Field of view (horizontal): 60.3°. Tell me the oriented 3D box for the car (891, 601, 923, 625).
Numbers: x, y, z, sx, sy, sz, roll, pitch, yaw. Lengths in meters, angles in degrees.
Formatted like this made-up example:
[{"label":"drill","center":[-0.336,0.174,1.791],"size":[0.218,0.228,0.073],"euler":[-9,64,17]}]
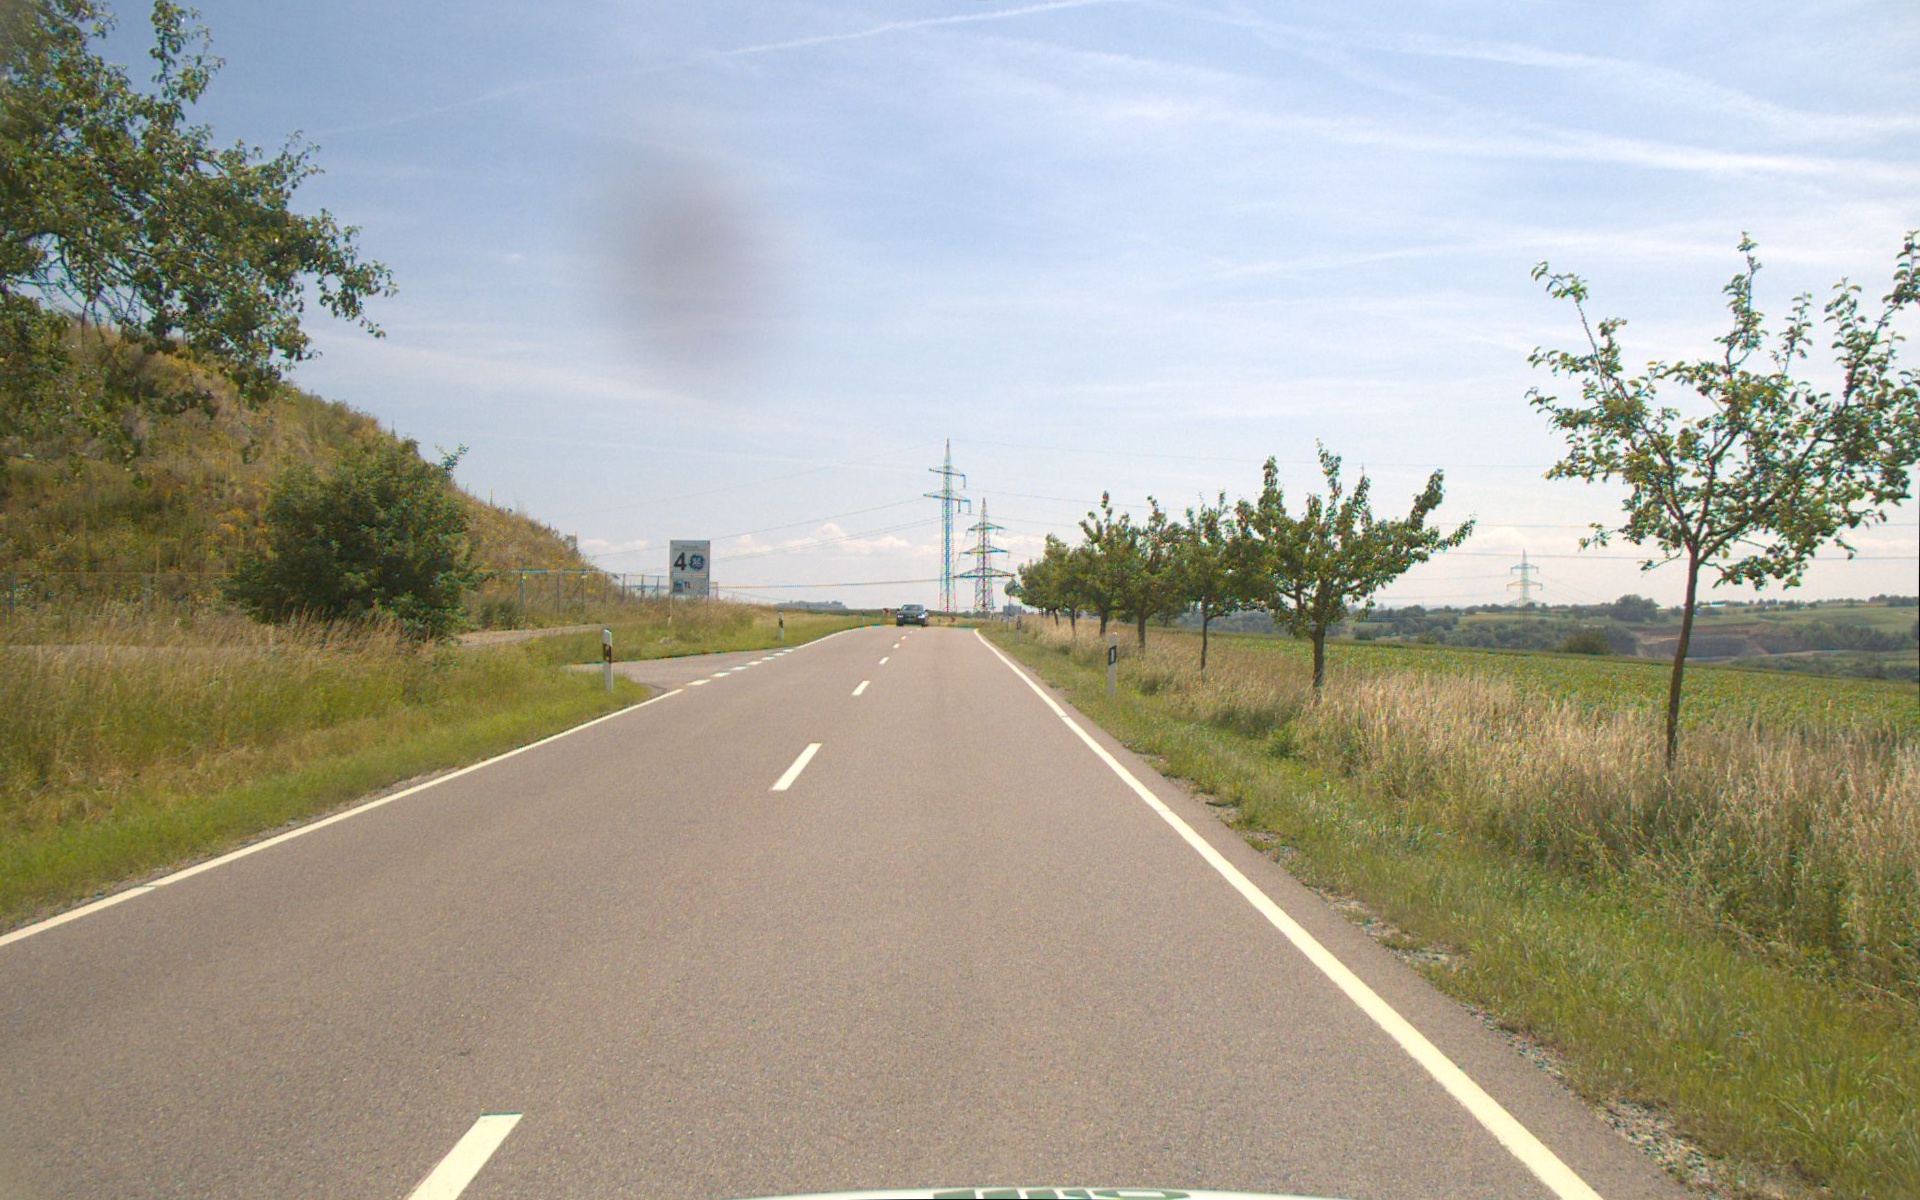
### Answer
[{"label":"car","center":[-3.323,0.790,103.734],"size":[1.785,1.435,4.000],"euler":[1,0,1]}]
